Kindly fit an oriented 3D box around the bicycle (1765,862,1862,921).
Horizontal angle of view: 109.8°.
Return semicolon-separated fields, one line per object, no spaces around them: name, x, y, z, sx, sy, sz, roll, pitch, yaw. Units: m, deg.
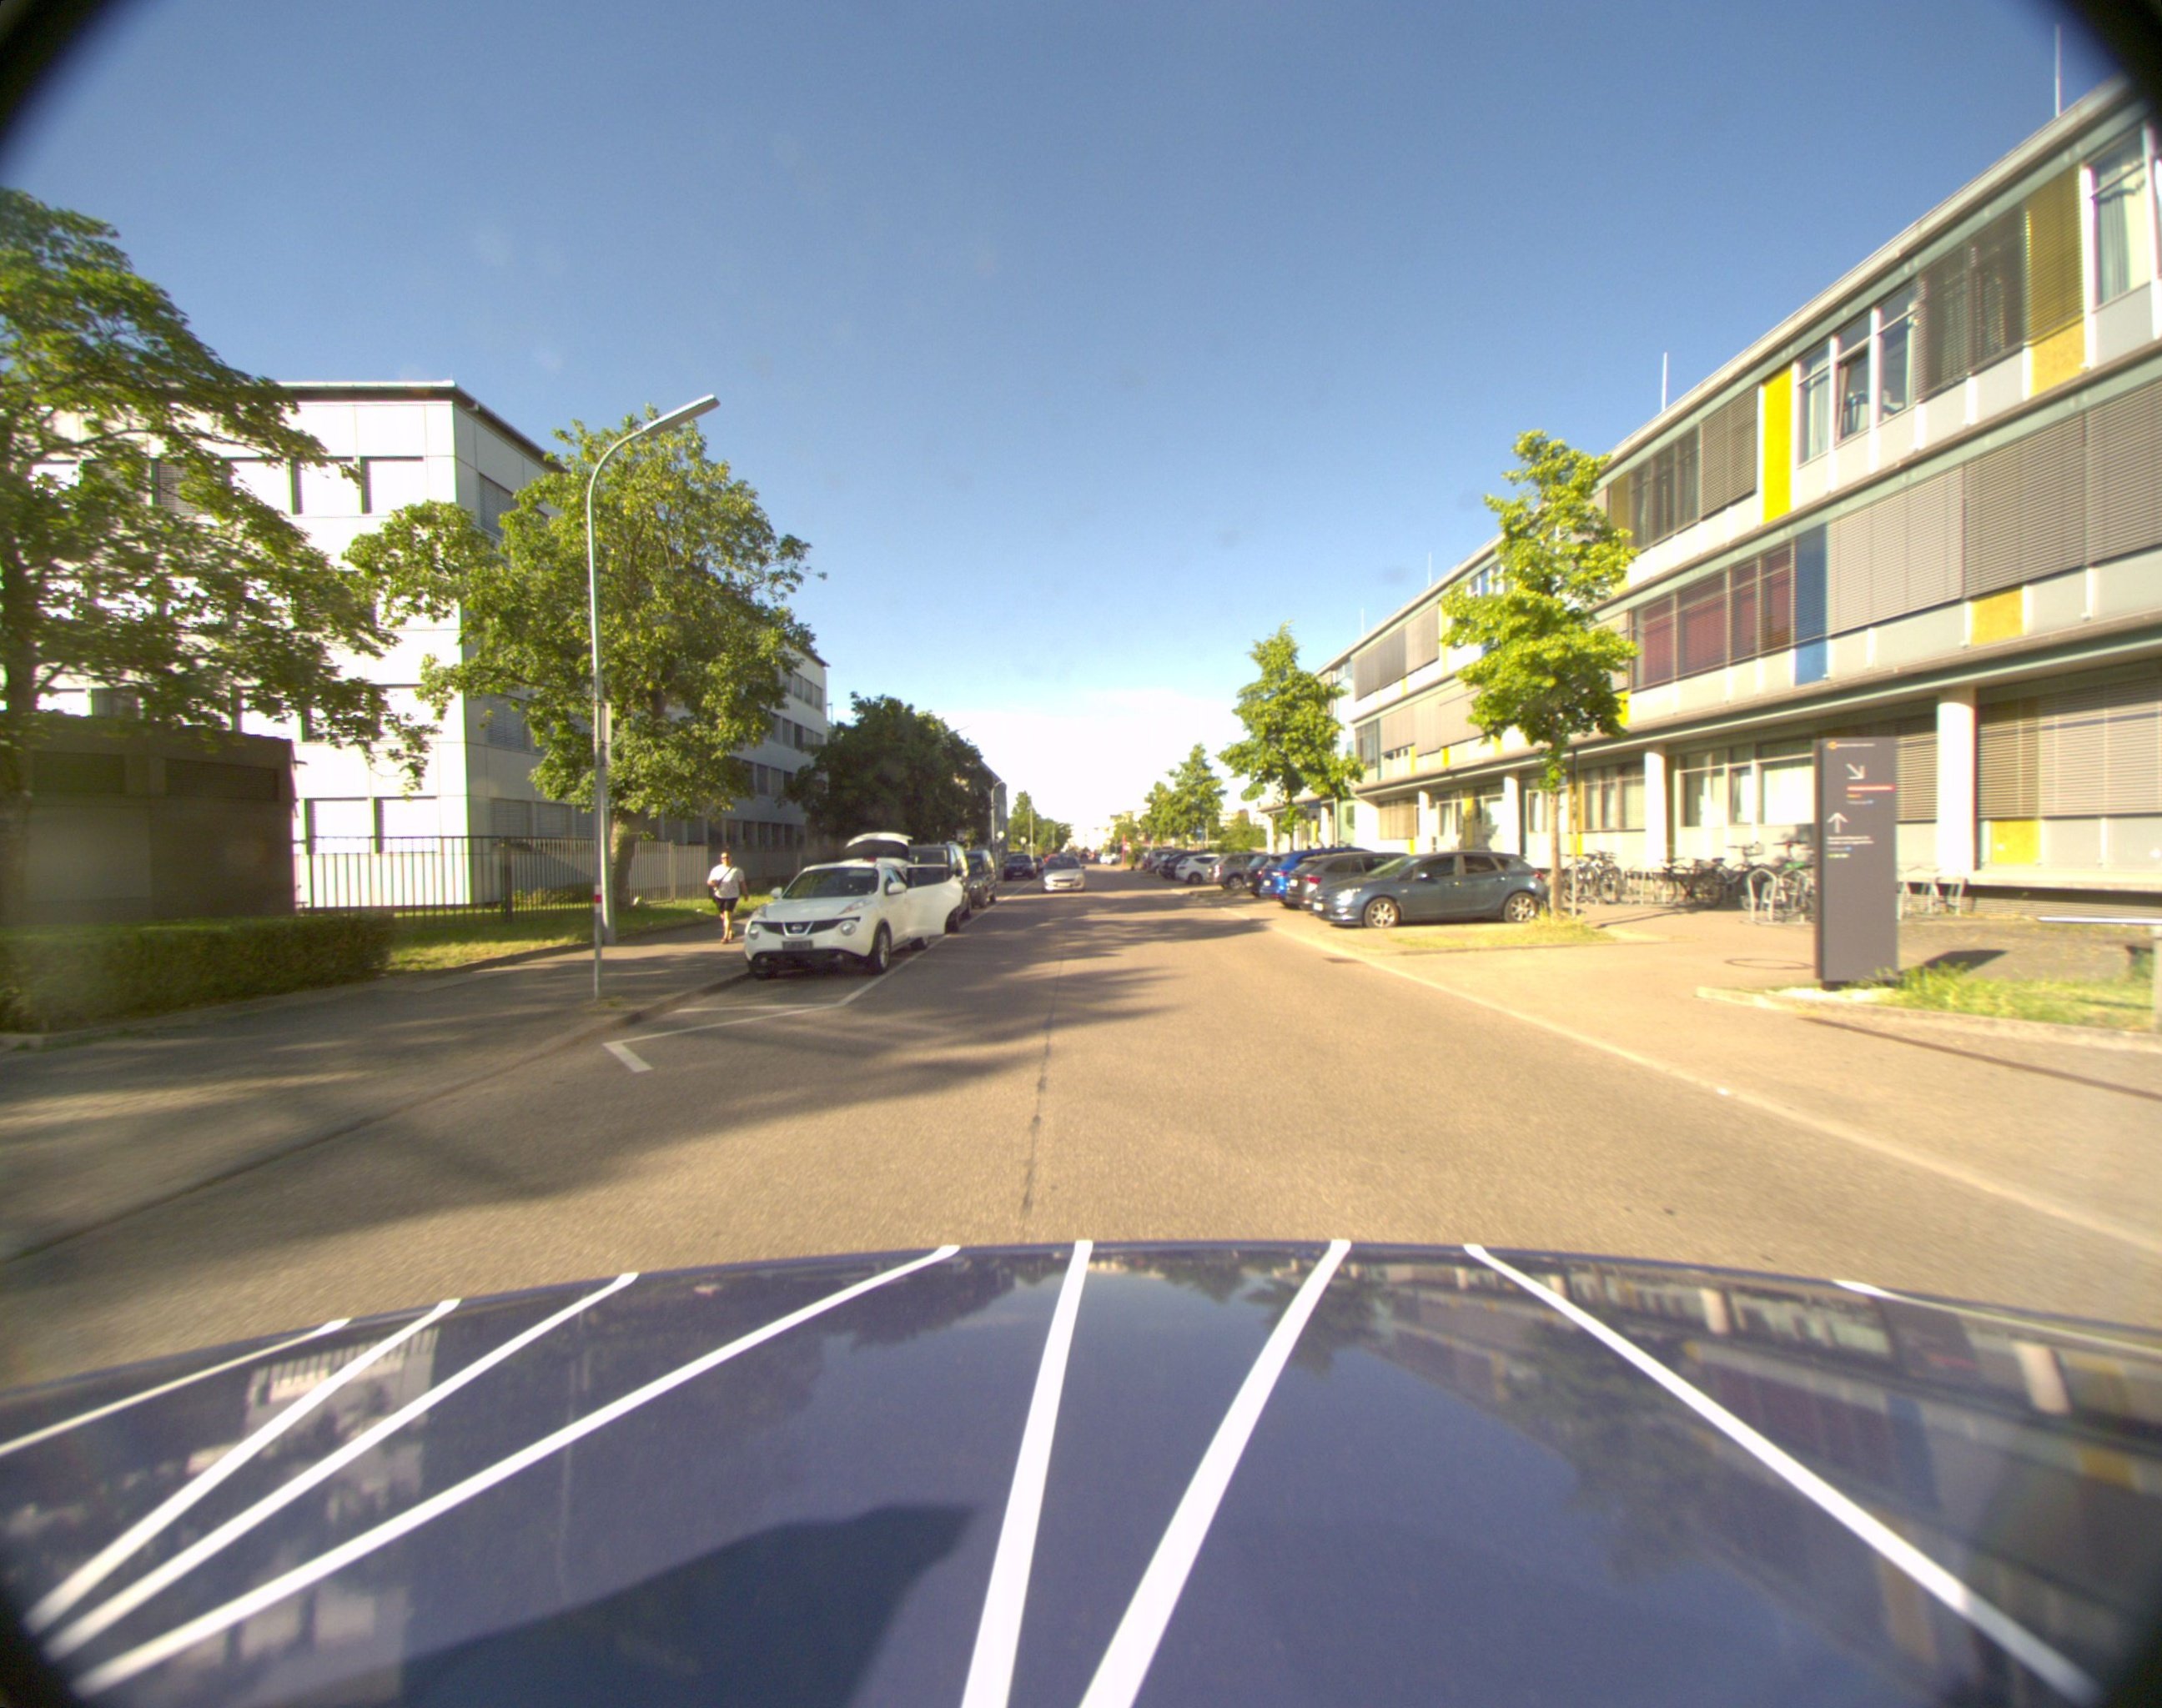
bicycle;13.532;0.668;14.083;0.353;1.017;1.396;0;1;-5

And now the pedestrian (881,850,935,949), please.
pedestrian;-3.154;0.817;13.857;0.589;1.736;0.706;-3;1;18

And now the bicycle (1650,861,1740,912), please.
bicycle;13.016;0.663;16.171;0.448;1.009;1.779;0;1;-1

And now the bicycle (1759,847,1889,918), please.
bicycle;12.584;0.519;12.948;0.353;1.040;1.653;0;-8;-5

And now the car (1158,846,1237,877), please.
car;7.027;0.449;46.129;4.360;1.581;1.999;-3;1;-4

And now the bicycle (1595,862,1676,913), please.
bicycle;12.047;0.702;16.574;0.428;1.009;1.779;0;1;-1

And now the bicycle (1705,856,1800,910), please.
bicycle;15.026;0.616;17.071;0.448;1.129;1.855;0;1;-1

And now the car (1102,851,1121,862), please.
car;4.145;0.353;104.179;2.000;1.499;3.997;0;0;-7

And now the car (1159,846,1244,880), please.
car;6.820;0.479;43.143;4.360;1.618;1.999;-3;1;-4

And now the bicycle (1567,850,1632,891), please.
bicycle;15.565;0.475;22.875;0.648;1.192;1.855;0;1;-1

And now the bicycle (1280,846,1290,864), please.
bicycle;13.054;0.051;48.524;0.462;1.090;1.514;-2;3;19

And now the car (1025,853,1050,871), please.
car;-3.671;0.660;65.155;1.824;1.435;4.294;-3;0;0

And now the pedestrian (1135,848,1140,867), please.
pedestrian;5.097;0.329;68.454;0.369;1.712;0.479;-3;5;-4

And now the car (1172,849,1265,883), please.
car;6.671;0.572;37.140;4.102;1.415;1.823;-3;1;-2

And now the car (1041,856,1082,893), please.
car;-0.761;0.793;30.937;1.551;1.389;3.453;0;1;-1

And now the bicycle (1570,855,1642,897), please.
bicycle;14.315;0.576;20.792;0.648;1.089;1.855;0;1;-1

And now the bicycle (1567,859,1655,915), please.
bicycle;11.488;0.683;16.537;0.637;1.136;1.779;0;1;-1

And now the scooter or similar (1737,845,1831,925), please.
scooter or similar;11.680;0.492;12.668;0.471;1.266;1.205;-1;1;1

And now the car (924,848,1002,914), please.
car;-3.562;0.746;23.686;1.706;1.784;4.294;-3;1;0

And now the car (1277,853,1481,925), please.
car;6.759;0.762;17.485;3.998;1.429;1.730;-2;1;-3

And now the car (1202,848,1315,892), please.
car;6.988;0.616;30.181;3.991;1.480;1.823;-3;1;-2

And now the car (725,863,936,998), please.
car;-3.442;0.957;11.316;1.668;1.505;4.113;-3;0;0

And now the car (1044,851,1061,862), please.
car;-3.658;0.259;96.840;1.999;1.383;3.998;0;0;-5

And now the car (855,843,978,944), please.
car;-3.503;0.742;17.184;1.869;1.859;5.020;-3;0;-3

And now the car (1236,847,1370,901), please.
car;7.206;0.622;24.845;3.752;1.480;1.777;-3;1;-8

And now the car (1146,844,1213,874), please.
car;6.822;0.362;52.926;4.359;1.852;2.000;-3;1;1

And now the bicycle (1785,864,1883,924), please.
bicycle;13.950;0.715;14.120;0.353;1.017;1.396;0;1;-5

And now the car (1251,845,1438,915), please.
car;6.853;0.638;20.065;4.232;1.642;1.959;-1;1;-3

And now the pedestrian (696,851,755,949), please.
pedestrian;-6.369;0.802;13.658;0.693;1.719;0.775;0;1;-1

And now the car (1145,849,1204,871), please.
car;7.141;0.414;58.387;4.357;1.452;2.000;-3;1;5

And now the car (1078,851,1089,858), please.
car;0.487;0.179;167.760;1.912;1.499;3.997;0;0;-7

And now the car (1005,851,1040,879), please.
car;-3.702;0.663;48.718;1.890;1.616;4.294;-3;0;0

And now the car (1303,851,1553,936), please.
car;6.740;0.737;15.055;4.142;1.458;1.753;-2;1;-1

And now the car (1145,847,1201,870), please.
car;7.369;0.369;61.341;4.357;1.637;2.000;-3;1;5
